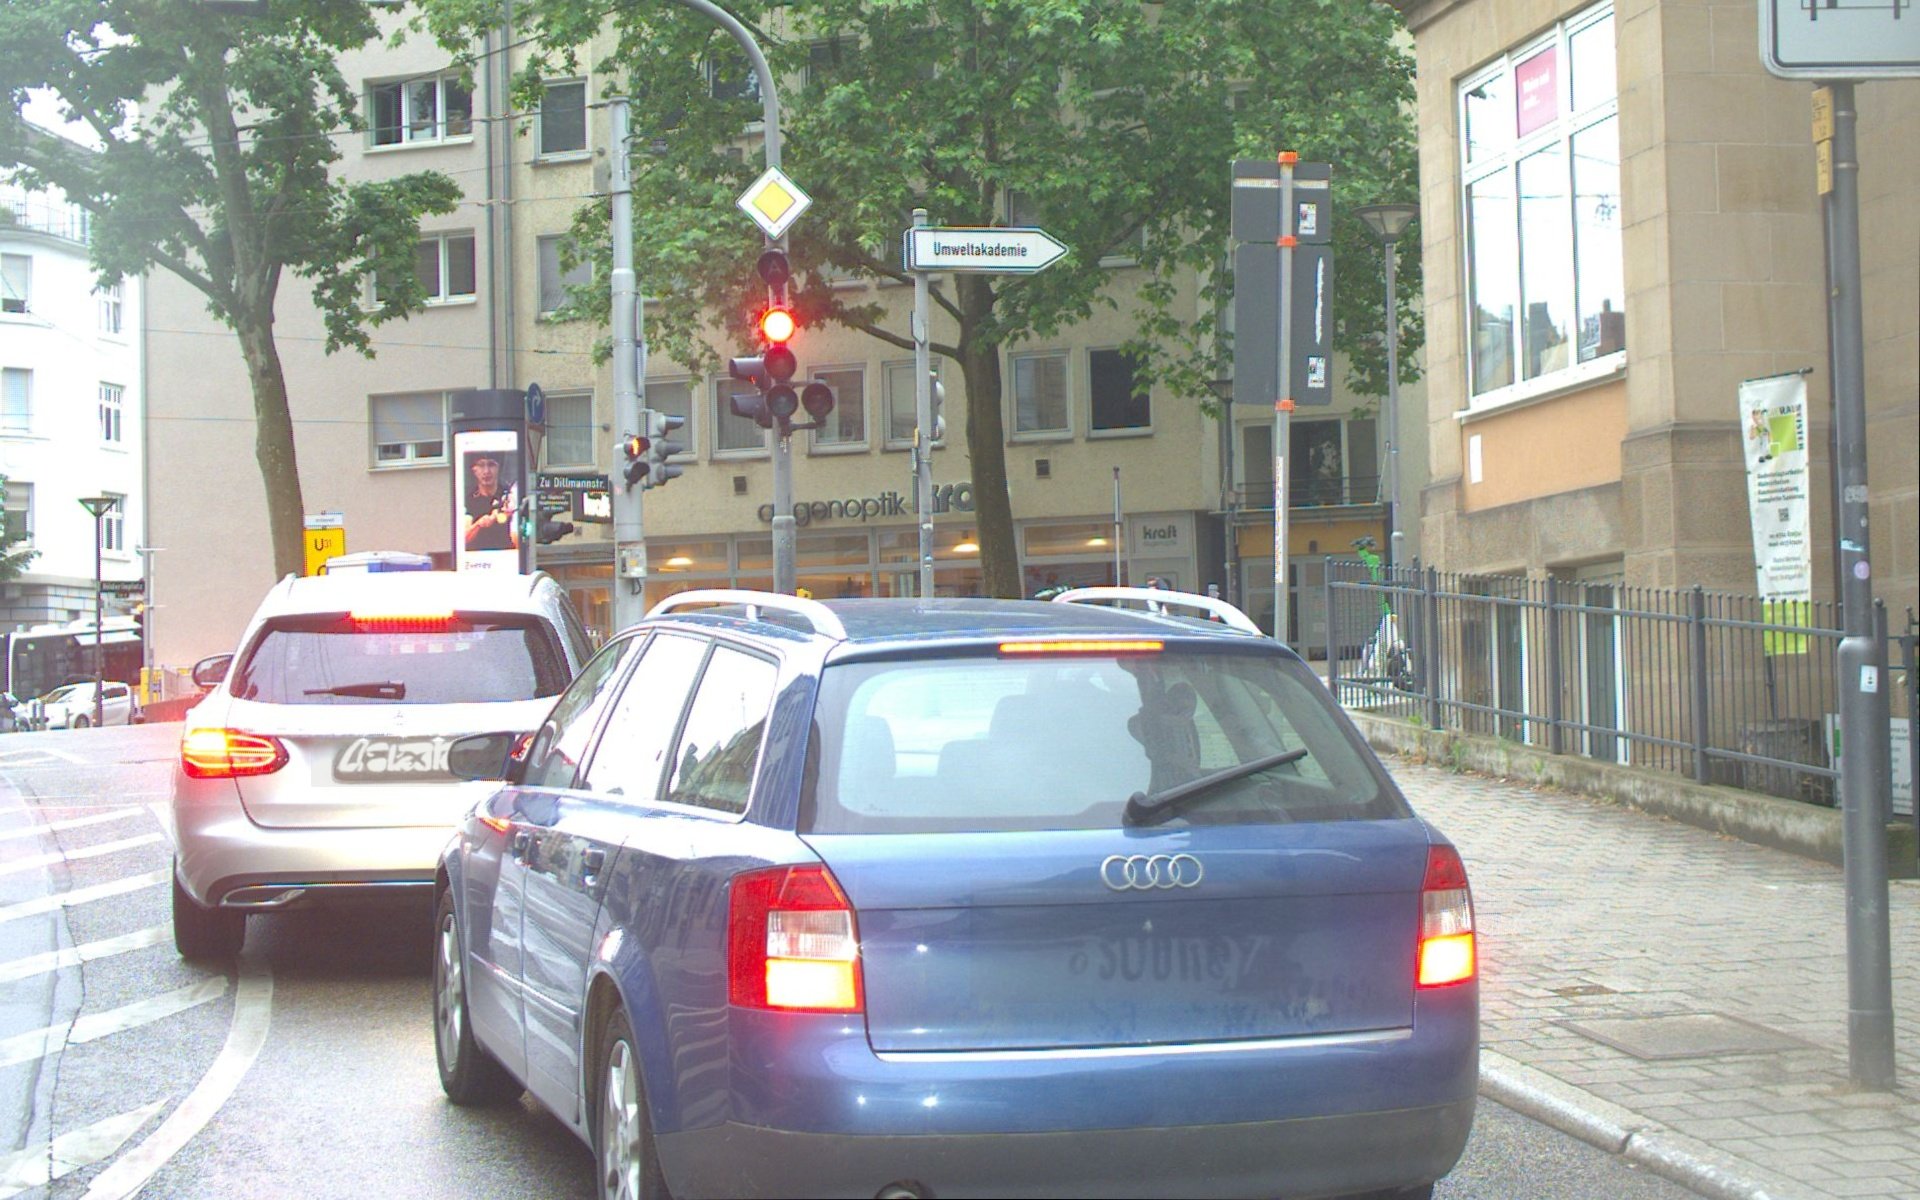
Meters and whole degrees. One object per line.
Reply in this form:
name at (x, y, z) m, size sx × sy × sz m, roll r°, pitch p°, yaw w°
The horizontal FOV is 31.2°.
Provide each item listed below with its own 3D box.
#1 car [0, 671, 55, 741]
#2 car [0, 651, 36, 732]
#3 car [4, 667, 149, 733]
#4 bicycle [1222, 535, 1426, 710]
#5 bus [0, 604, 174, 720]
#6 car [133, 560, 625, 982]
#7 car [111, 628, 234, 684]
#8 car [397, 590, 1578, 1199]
car at (-24.163, 2.642, 84.509) m, size 1.796 × 1.609 × 3.997 m, roll -1°, pitch 1°, yaw 17°
car at (-19.945, 1.894, 68.868) m, size 1.794 × 1.505 × 4.000 m, roll -4°, pitch 1°, yaw -1°
car at (-22.932, 2.581, 89.363) m, size 1.796 × 1.505 × 3.997 m, roll -1°, pitch 1°, yaw 17°
bicycle at (2.613, 0.156, 24.688) m, size 1.300 × 1.169 × 0.526 m, roll -3°, pitch 1°, yaw -12°
bus at (-25.191, 1.675, 95.475) m, size 2.856 × 2.851 × 8.728 m, roll -1°, pitch 1°, yaw 14°
car at (-2.280, 0.577, 13.890) m, size 1.710 × 1.451 × 3.554 m, roll 0°, pitch 1°, yaw -8°
car at (-23.726, 1.681, 103.695) m, size 1.796 × 1.505 × 3.997 m, roll -1°, pitch 1°, yaw 17°
car at (-0.224, 0.714, 8.222) m, size 1.710 × 1.410 × 4.037 m, roll 0°, pitch 1°, yaw -17°
